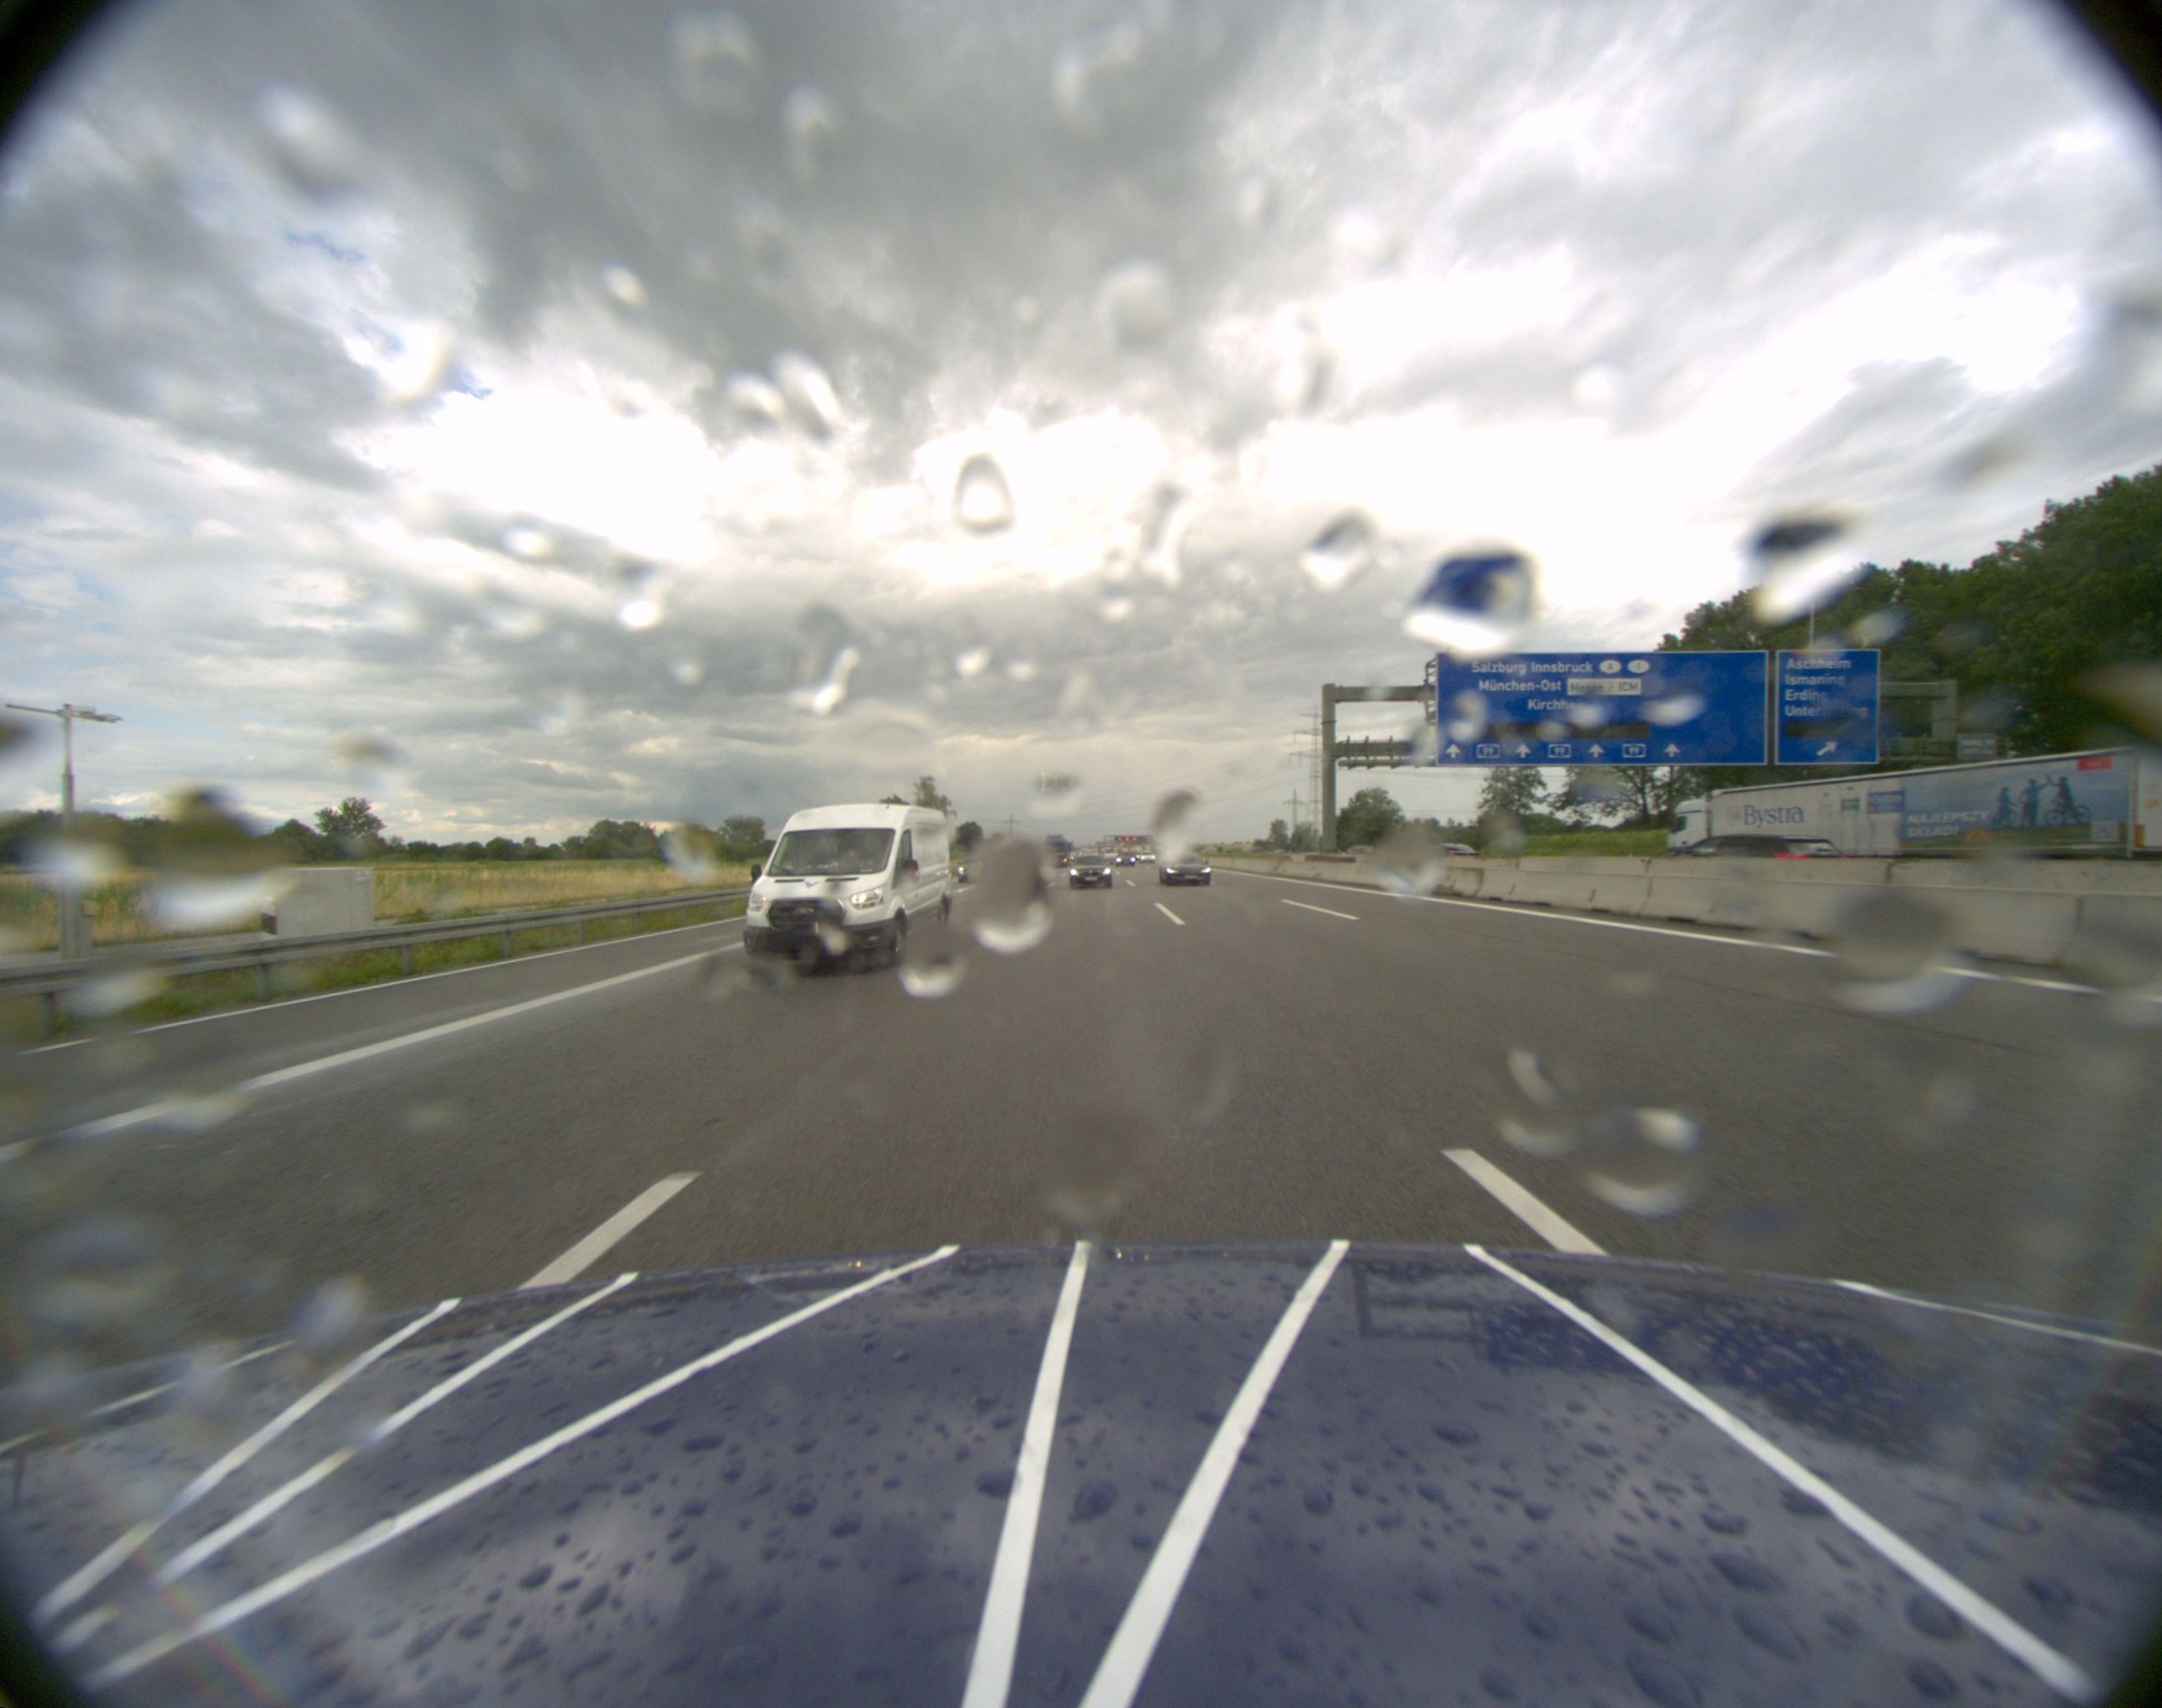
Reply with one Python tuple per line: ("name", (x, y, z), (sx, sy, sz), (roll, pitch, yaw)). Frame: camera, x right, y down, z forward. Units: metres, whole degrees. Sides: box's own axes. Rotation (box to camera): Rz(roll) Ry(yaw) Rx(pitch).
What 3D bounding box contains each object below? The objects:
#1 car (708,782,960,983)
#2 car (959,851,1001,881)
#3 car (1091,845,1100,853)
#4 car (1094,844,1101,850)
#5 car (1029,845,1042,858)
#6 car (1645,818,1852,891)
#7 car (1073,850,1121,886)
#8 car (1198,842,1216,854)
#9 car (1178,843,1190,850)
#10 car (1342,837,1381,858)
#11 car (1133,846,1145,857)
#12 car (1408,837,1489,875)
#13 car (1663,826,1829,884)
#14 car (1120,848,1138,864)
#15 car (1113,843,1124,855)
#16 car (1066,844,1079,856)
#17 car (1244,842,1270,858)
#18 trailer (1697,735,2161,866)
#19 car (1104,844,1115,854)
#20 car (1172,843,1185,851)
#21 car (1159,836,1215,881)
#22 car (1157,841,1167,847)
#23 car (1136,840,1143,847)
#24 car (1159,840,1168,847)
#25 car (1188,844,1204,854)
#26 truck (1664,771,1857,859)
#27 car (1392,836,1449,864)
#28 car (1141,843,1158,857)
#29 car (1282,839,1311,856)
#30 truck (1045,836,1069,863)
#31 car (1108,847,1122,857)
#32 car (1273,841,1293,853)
("car", (-3.545, 0.333, 12.322), (2.145, 2.486, 5.447), (-2, 1, 1))
("car", (-5.896, 0.645, 44.925), (1.999, 1.632, 4.629), (-1, 0, -2))
("car", (3.267, -1.088, 167.728), (1.998, 1.810, 5.162), (-2, 1, 2))
("car", (4.936, -1.964, 222.357), (1.998, 1.801, 4.273), (-1, 1, 1))
("car", (-7.636, -0.442, 127.378), (1.836, 2.002, 3.862), (-2, 1, 0))
("car", (17.047, -0.014, 19.709), (1.873, 1.648, 4.000), (-2, 1, 1))
("car", (0.698, 0.553, 32.936), (1.923, 1.407, 4.000), (-1, 0, 1))
("car", (18.345, -0.859, 110.784), (1.786, 1.687, 4.501), (-2, 1, -2))
("car", (21.594, -1.496, 159.431), (1.824, 1.403, 3.999), (-2, 1, 0))
("car", (25.014, -0.581, 67.938), (1.998, 1.717, 4.017), (-2, 1, 0))
("car", (9.026, -0.433, 118.084), (1.710, 1.622, 4.001), (-2, 1, 4))
("car", (17.886, 0.087, 37.170), (1.998, 1.717, 4.017), (-2, 1, 0))
("car", (21.896, -0.002, 25.253), (1.998, 1.717, 4.017), (-2, 1, 0))
("car", (4.833, 0.201, 76.916), (1.710, 1.562, 4.347), (-2, 1, 4))
("car", (8.173, -1.052, 164.029), (2.144, 2.486, 5.449), (-2, 1, 4))
("car", (-1.385, -0.677, 126.687), (1.999, 2.002, 5.050), (-2, 1, 0))
("car", (18.952, -0.441, 81.839), (1.801, 1.605, 3.999), (-2, 1, 0))
("trailer", (29.757, -1.546, 27.542), (3.117, 3.487, 14.450), (-2, 1, 0))
("car", (5.389, -0.986, 144.469), (1.998, 1.810, 5.162), (-2, 1, 0))
("car", (18.523, -1.287, 144.289), (1.824, 1.403, 3.999), (-2, 1, 0))
("car", (4.629, 0.142, 33.827), (1.998, 1.810, 5.163), (-2, 1, 3))
("car", (18.733, -2.337, 176.475), (1.824, 1.403, 3.999), (-2, 1, 0))
("car", (18.584, -3.194, 240.098), (1.824, 2.112, 3.999), (-2, 1, 0))
("car", (23.807, -3.128, 220.269), (2.078, 1.959, 4.952), (-2, 1, 0))
("car", (19.058, -0.863, 125.819), (1.786, 1.603, 4.351), (-2, 1, -2))
("truck", (29.816, -1.611, 33.765), (3.143, 3.487, 6.099), (-2, 1, 0))
("car", (22.557, -0.284, 50.595), (1.998, 1.717, 4.017), (-2, 1, 0))
("car", (8.483, -0.502, 94.767), (1.822, 1.565, 4.000), (-2, 1, 1))
("car", (23.121, -0.711, 81.566), (1.998, 1.717, 4.017), (-2, 1, 0))
("truck", (-2.520, -0.512, 81.360), (2.391, 2.726, 6.593), (-2, 1, 0))
("car", (5.073, -0.376, 114.255), (1.806, 1.424, 3.999), (-2, 1, 0))
("car", (31.337, -1.076, 117.951), (1.786, 1.687, 4.351), (-2, 1, -2))
